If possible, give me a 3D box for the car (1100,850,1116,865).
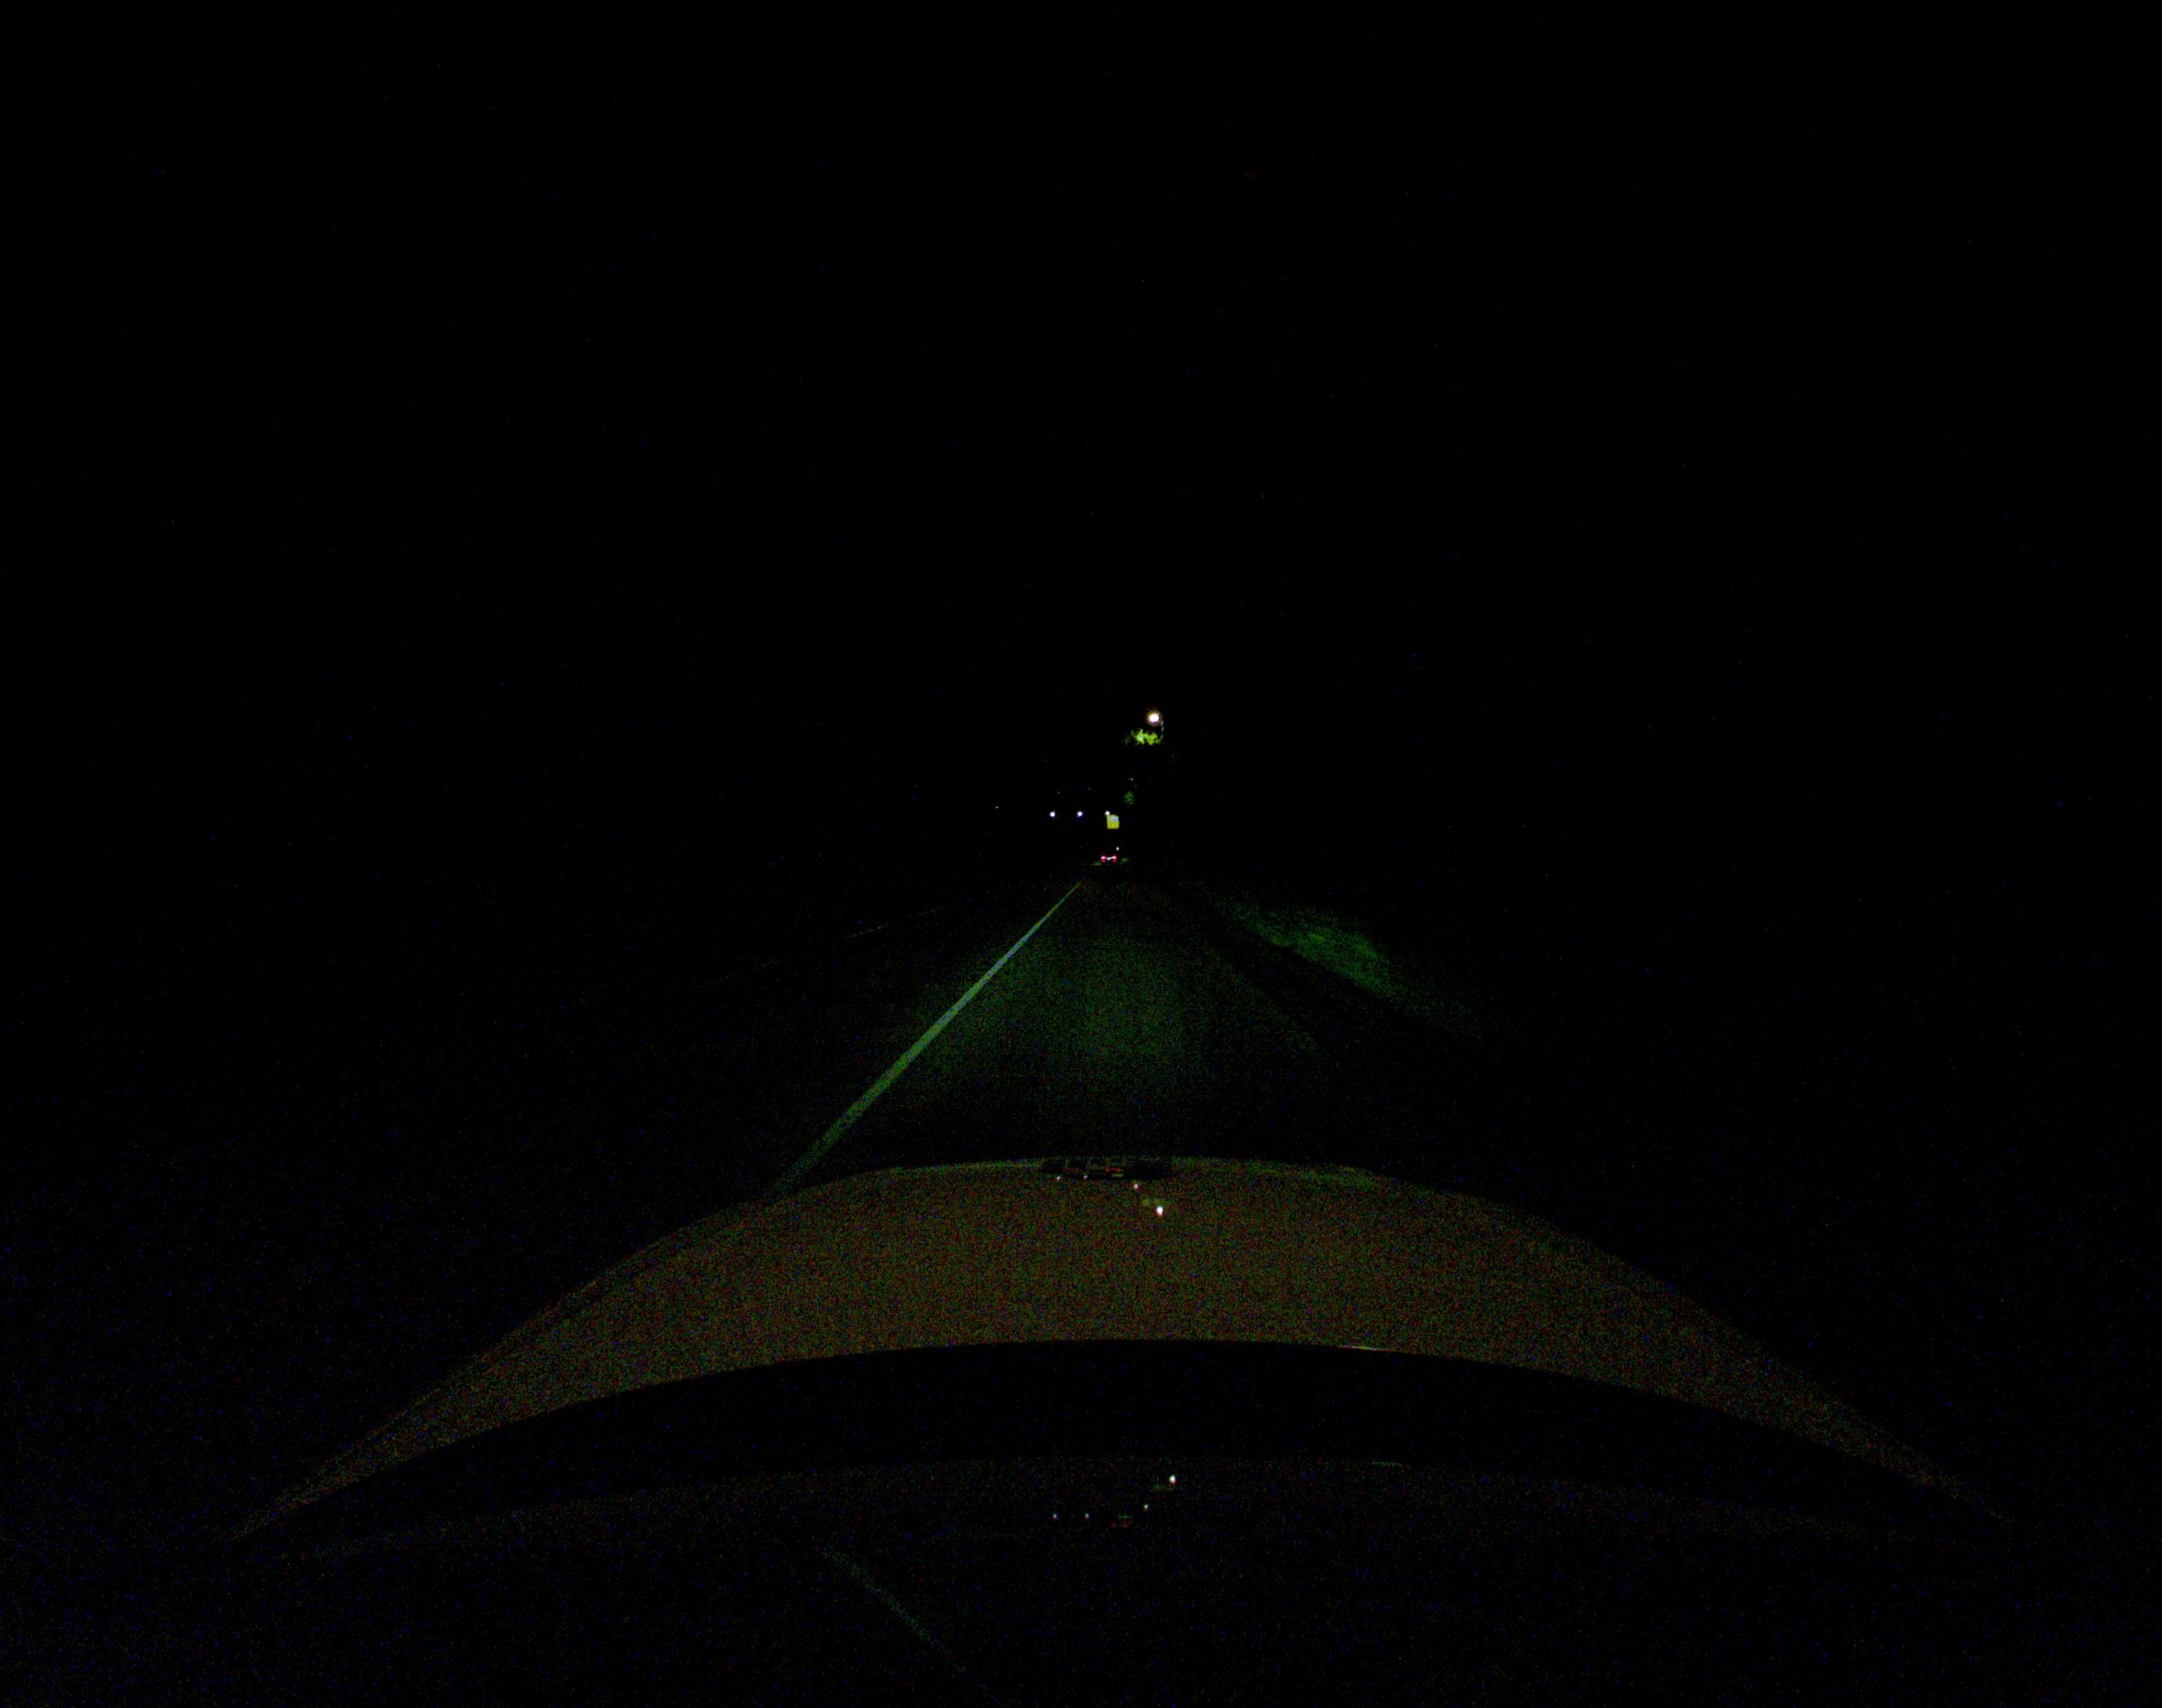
[{"bbox_3d":[3.371,0.419,100.100,1.755,1.641,3.728,-1,1,4],"label":"car"}]
